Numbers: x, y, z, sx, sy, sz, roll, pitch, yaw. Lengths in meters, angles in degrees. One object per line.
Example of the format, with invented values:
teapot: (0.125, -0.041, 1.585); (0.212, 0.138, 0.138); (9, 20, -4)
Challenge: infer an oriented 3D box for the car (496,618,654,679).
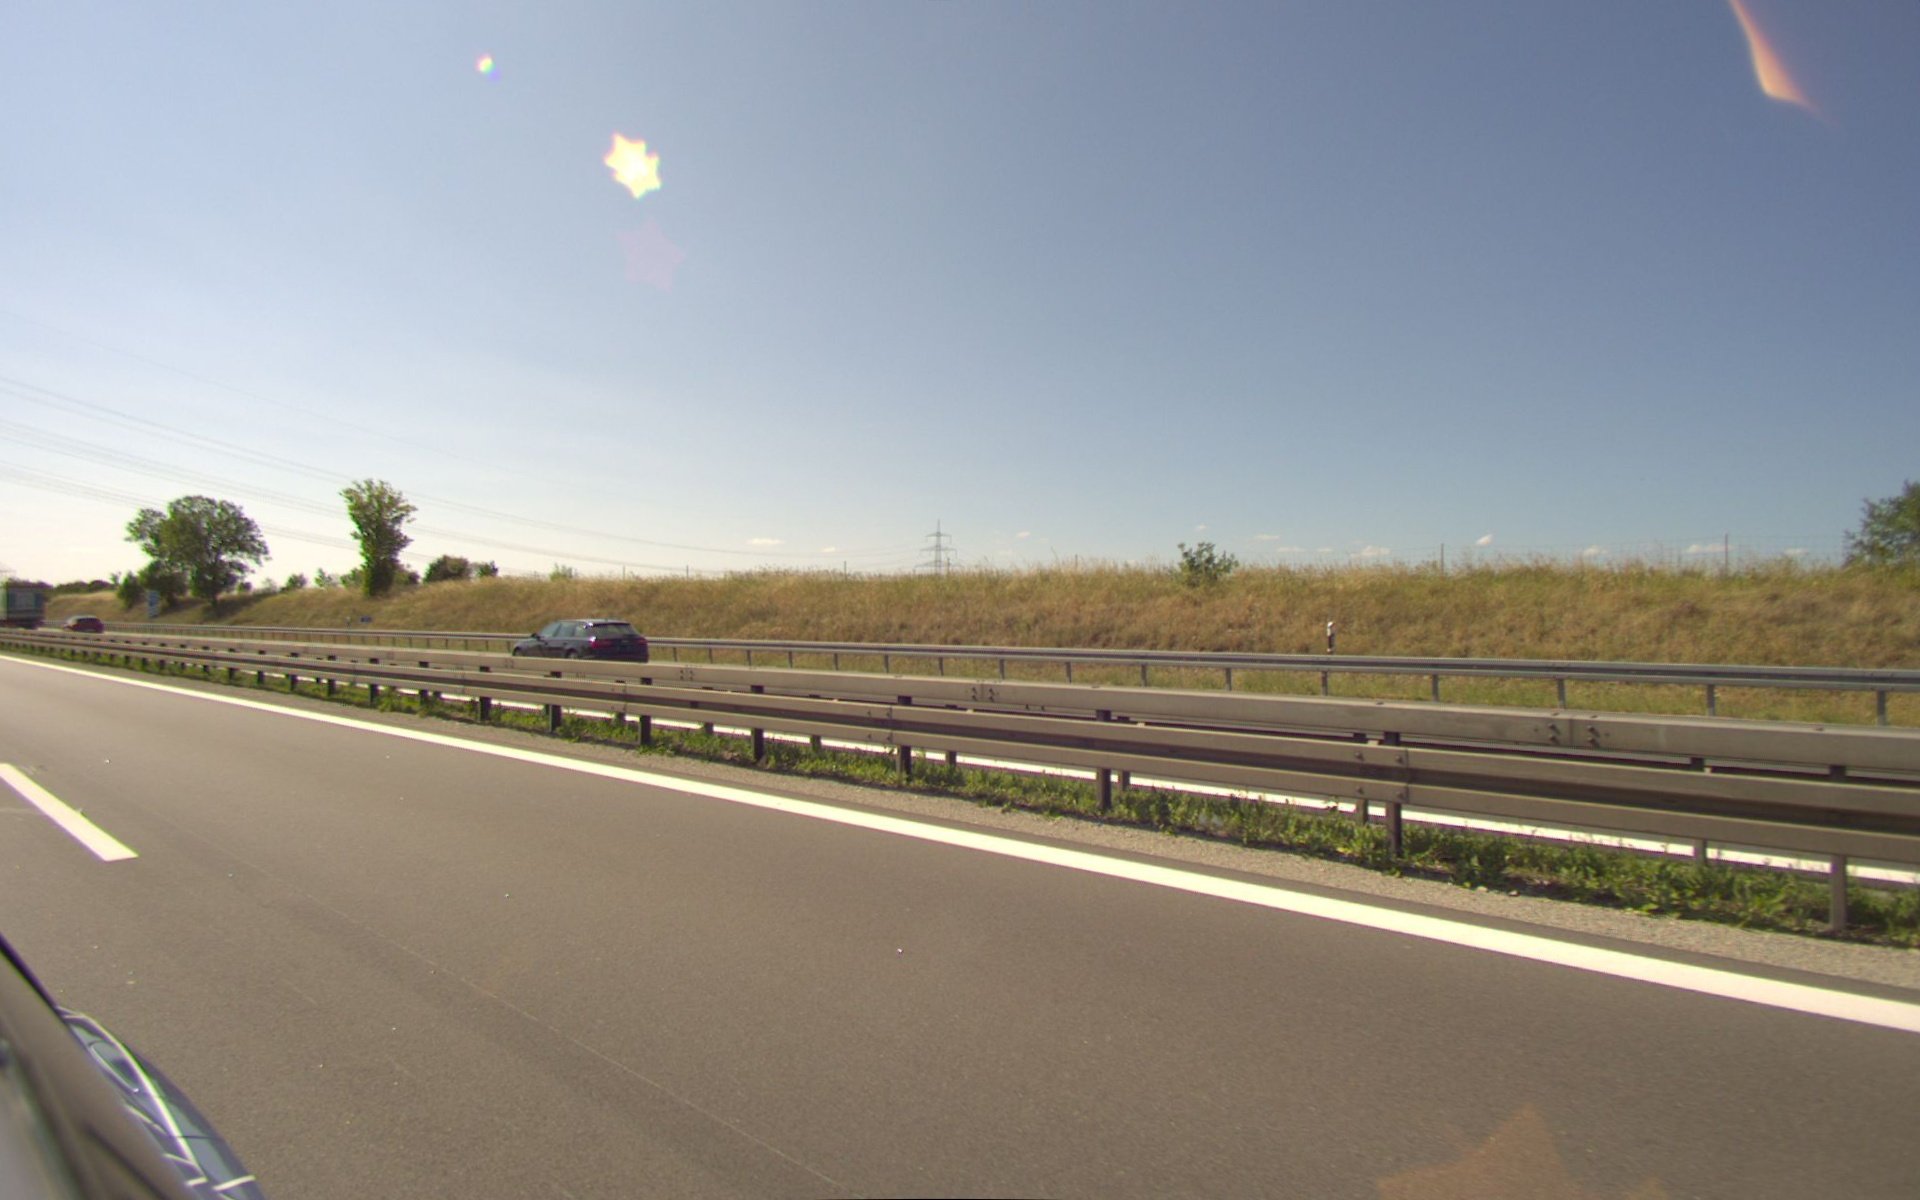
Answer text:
car: (-10.382, 1.225, 27.072); (5.238, 1.478, 1.707); (-1, -1, 41)

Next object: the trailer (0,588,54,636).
trailer: (-84.950, 1.075, 90.803); (14.036, 4.029, 3.578); (-1, -1, 40)

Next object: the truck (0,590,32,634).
truck: (-90.460, 1.134, 95.472); (6.119, 4.029, 3.578); (-1, -1, 40)

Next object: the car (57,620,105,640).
car: (-61.718, 2.092, 71.035); (4.550, 1.370, 1.886); (-1, -1, 40)
